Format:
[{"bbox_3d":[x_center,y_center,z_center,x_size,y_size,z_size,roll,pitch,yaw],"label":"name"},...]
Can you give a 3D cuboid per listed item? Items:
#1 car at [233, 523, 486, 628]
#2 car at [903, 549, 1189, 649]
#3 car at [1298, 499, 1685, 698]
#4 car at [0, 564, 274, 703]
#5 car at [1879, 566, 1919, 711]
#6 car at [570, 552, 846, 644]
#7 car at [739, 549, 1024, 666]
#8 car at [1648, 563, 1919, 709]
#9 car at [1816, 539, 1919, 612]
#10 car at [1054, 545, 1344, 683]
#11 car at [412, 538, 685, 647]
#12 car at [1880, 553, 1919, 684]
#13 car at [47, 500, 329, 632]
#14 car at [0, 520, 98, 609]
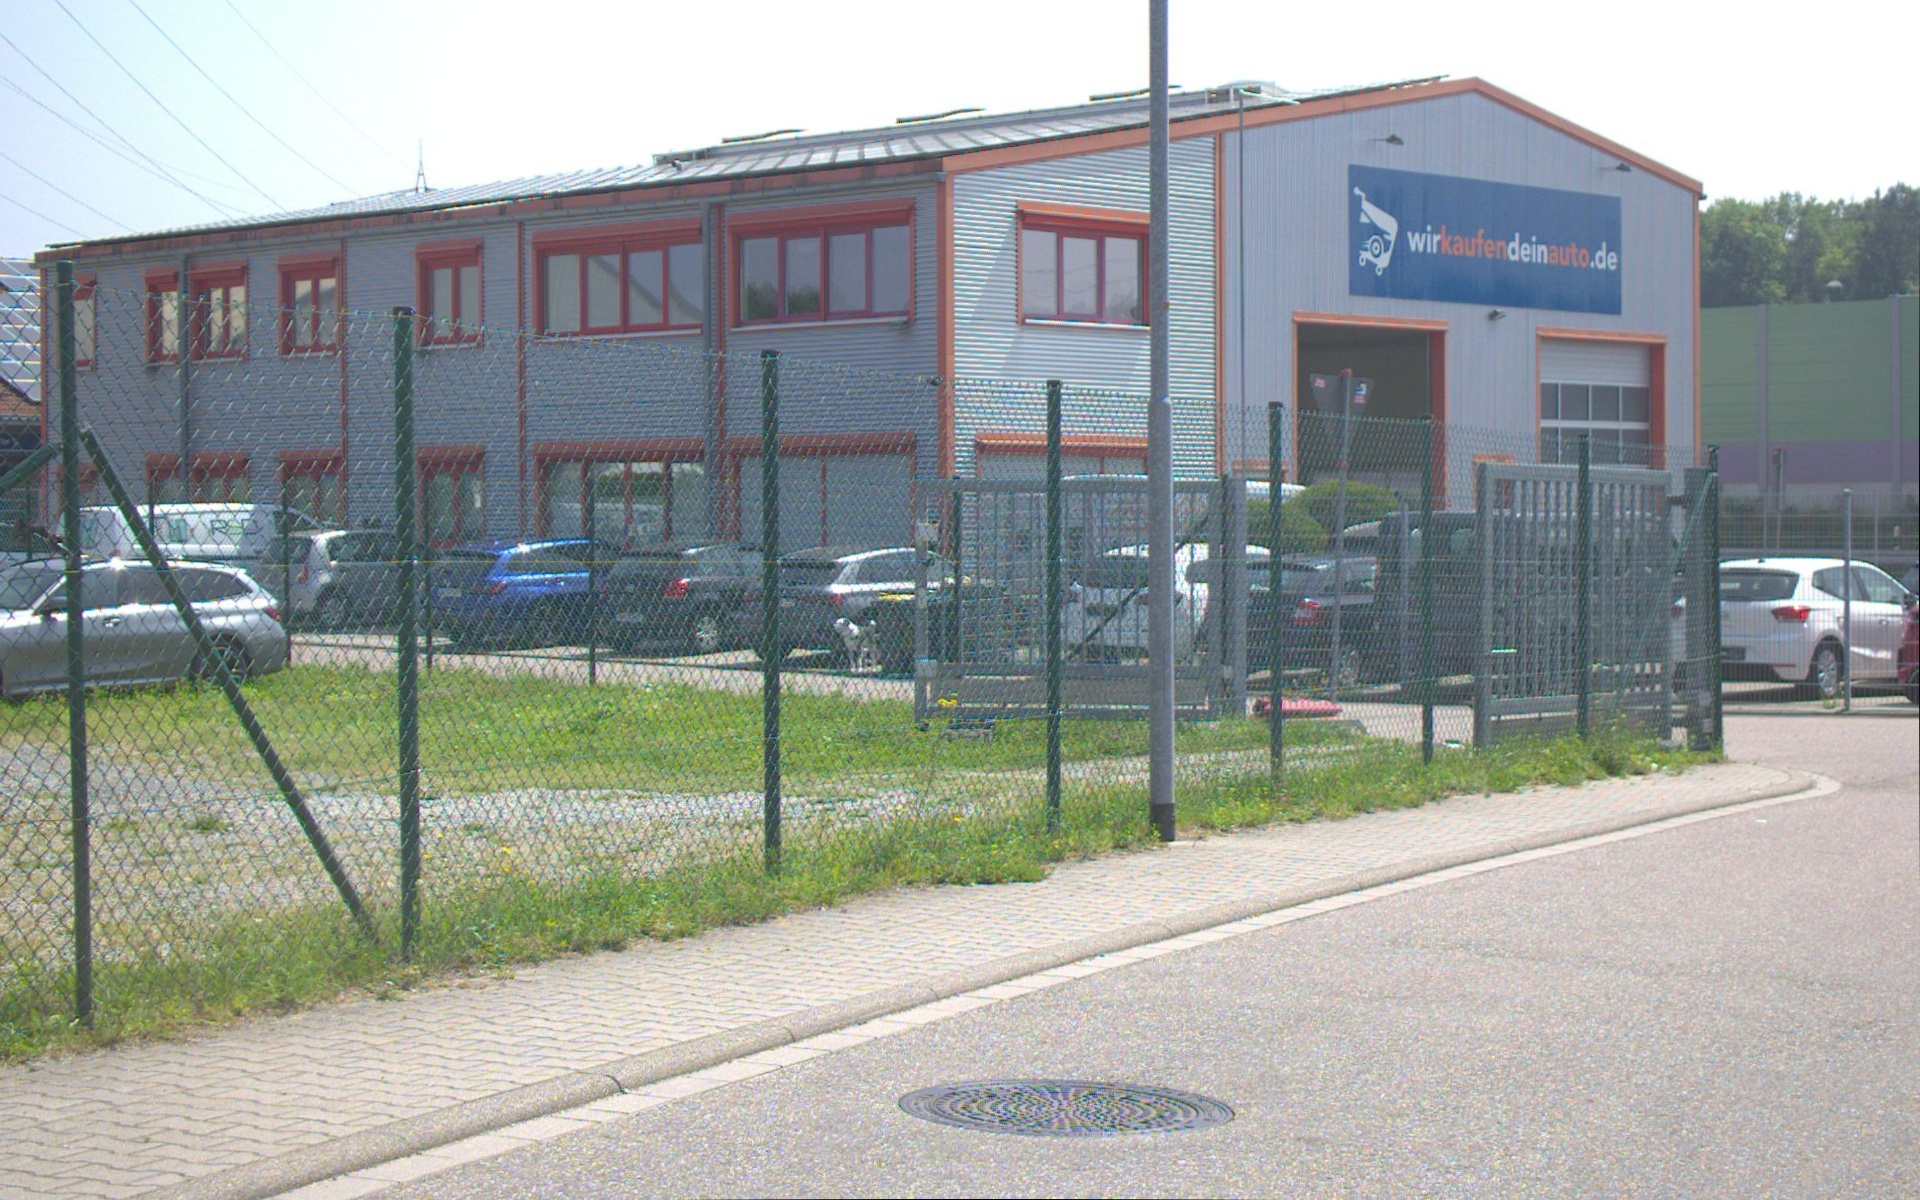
[{"bbox_3d":[-9.083,-0.394,52.189,1.507,1.538,3.594,1,2,43],"label":"car"},{"bbox_3d":[1.090,-0.035,42.188,1.507,1.147,3.594,1,2,43],"label":"car"},{"bbox_3d":[5.814,-0.071,37.230,1.955,2.023,4.506,1,2,43],"label":"car"},{"bbox_3d":[-8.744,0.308,33.400,1.234,1.256,4.132,1,2,43],"label":"car"},{"bbox_3d":[10.996,0.347,34.204,1.874,1.382,4.103,1,2,43],"label":"car"},{"bbox_3d":[-3.316,-0.050,45.713,1.507,1.147,3.594,1,2,43],"label":"car"},{"bbox_3d":[-0.956,0.068,43.222,1.507,1.376,3.594,1,2,43],"label":"car"},{"bbox_3d":[8.921,0.334,35.989,1.750,1.400,3.594,1,2,43],"label":"car"},{"bbox_3d":[21.934,-0.593,80.859,1.703,1.651,3.990,1,2,44],"label":"car"},{"bbox_3d":[2.867,0.129,40.694,1.507,1.534,3.594,1,2,43],"label":"car"},{"bbox_3d":[-5.617,-0.132,47.185,1.507,1.411,3.594,1,2,43],"label":"car"},{"bbox_3d":[12.158,0.176,39.382,1.487,1.449,3.884,1,2,43],"label":"car"},{"bbox_3d":[-11.925,-0.553,53.256,1.822,1.972,3.897,1,2,43],"label":"car"},{"bbox_3d":[-16.765,-0.605,58.415,1.507,1.510,3.897,1,2,43],"label":"car"}]
